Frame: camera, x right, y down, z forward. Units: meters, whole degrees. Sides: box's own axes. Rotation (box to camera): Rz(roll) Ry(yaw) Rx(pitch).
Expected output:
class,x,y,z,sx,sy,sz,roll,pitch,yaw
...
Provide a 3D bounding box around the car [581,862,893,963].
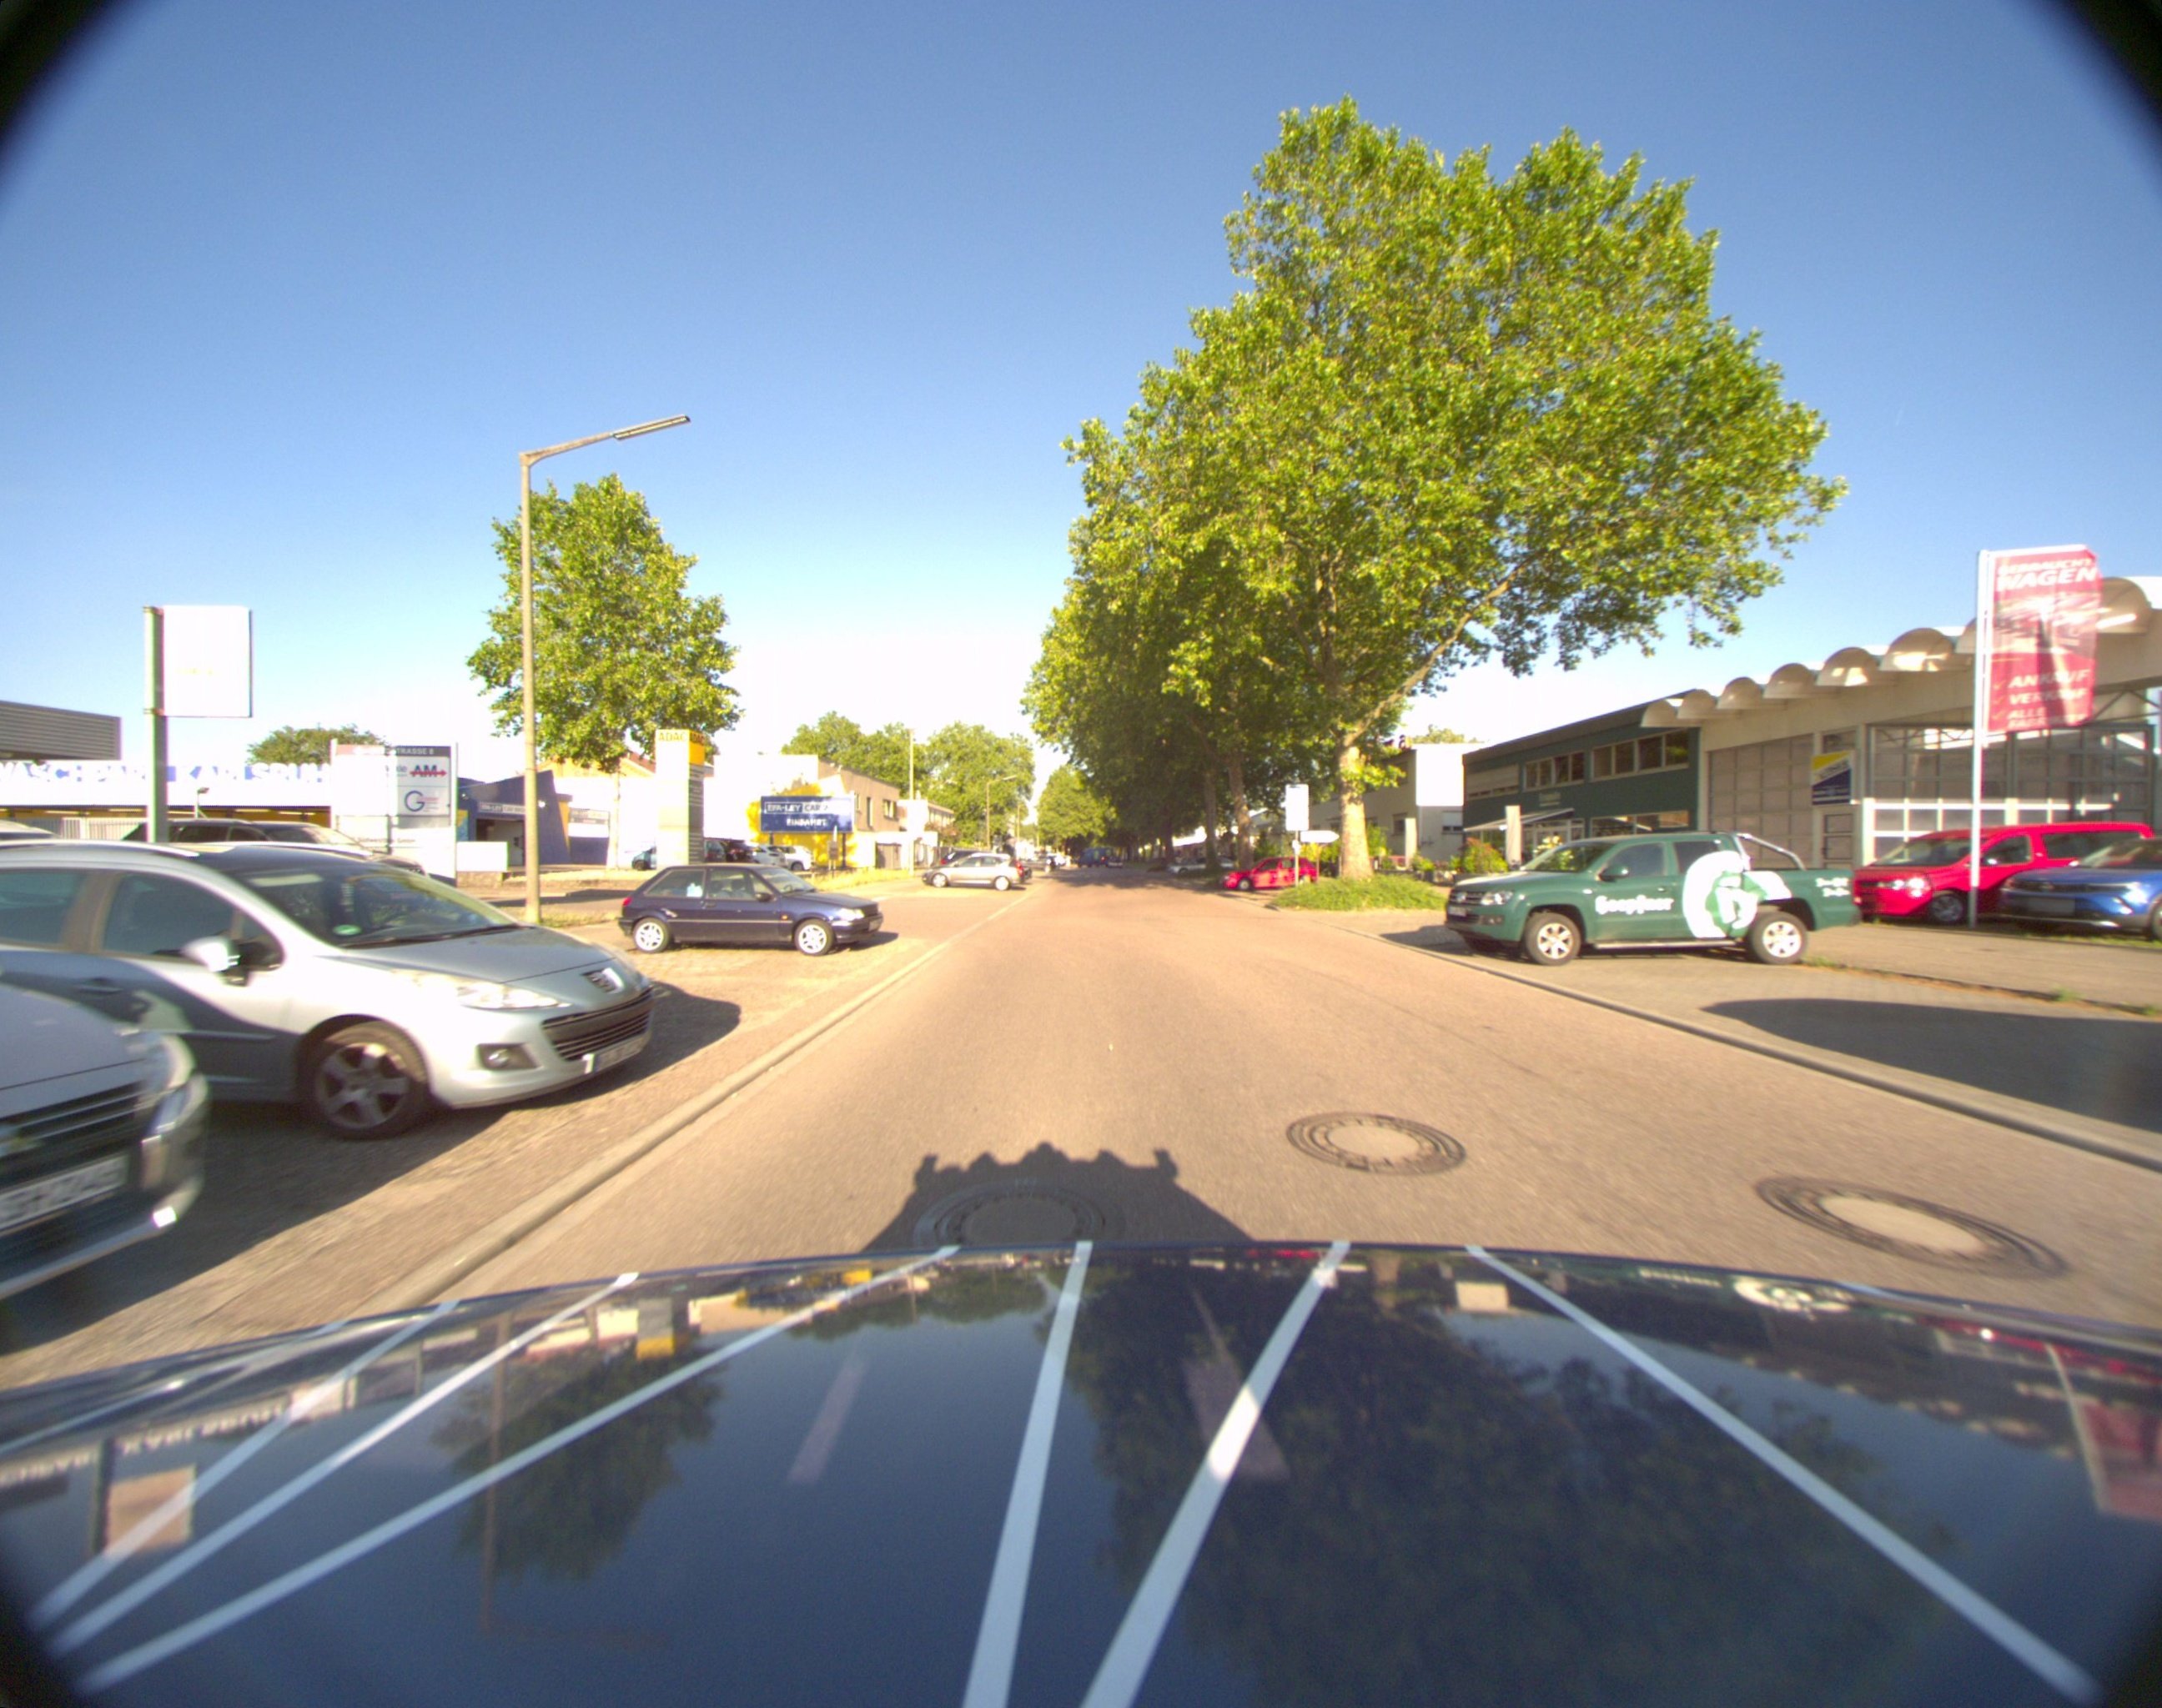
class,x,y,z,sx,sy,sz,roll,pitch,yaw
car,-5.168,0.844,11.752,3.996,1.288,1.784,2,0,3

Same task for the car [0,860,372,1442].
class,x,y,z,sx,sy,sz,roll,pitch,yaw
car,-5.109,0.826,2.181,4.120,1.608,2.058,1,0,-3

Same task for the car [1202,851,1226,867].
class,x,y,z,sx,sy,sz,roll,pitch,yaw
car,14.292,0.515,82.095,1.998,1.567,4.273,-1,0,2

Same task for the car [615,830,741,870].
class,x,y,z,sx,sy,sz,roll,pitch,yaw
car,-16.216,-0.158,30.764,3.998,1.510,1.999,-1,1,-3

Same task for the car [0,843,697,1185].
class,x,y,z,sx,sy,sz,roll,pitch,yaw
car,-4.798,0.780,4.557,3.998,1.578,1.867,2,0,-3

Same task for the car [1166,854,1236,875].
class,x,y,z,sx,sy,sz,roll,pitch,yaw
car,8.347,0.730,53.161,4.611,1.413,2.000,0,-1,0

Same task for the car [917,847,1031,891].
class,x,y,z,sx,sy,sz,roll,pitch,yaw
car,-4.634,0.619,33.363,4.612,1.604,2.000,3,1,0

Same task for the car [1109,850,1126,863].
class,x,y,z,sx,sy,sz,roll,pitch,yaw
car,4.498,0.312,93.317,1.843,1.562,3.802,2,0,0

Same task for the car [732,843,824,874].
class,x,y,z,sx,sy,sz,roll,pitch,yaw
car,-15.856,0.225,39.894,3.998,1.488,1.999,-1,1,-3

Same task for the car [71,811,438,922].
class,x,y,z,sx,sy,sz,roll,pitch,yaw
car,-15.462,0.212,14.462,4.507,1.887,2.202,-1,1,0

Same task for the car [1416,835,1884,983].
class,x,y,z,sx,sy,sz,roll,pitch,yaw
car,8.092,0.731,11.252,5.273,1.887,2.202,-1,1,0

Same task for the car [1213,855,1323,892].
class,x,y,z,sx,sy,sz,roll,pitch,yaw
car,8.100,0.815,33.165,4.307,1.438,2.000,-1,1,0

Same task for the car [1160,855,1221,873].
class,x,y,z,sx,sy,sz,roll,pitch,yaw
car,8.500,0.756,59.228,4.365,1.413,2.000,0,0,-2

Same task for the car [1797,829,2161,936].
class,x,y,z,sx,sy,sz,roll,pitch,yaw
car,16.942,0.501,14.482,4.758,1.809,2.000,-1,1,-1

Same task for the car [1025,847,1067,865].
class,x,y,z,sx,sy,sz,roll,pitch,yaw
car,-3.971,0.214,87.186,4.636,1.702,2.000,3,1,-1

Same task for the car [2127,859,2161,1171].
class,x,y,z,sx,sy,sz,roll,pitch,yaw
car,7.903,0.828,3.122,4.314,1.646,2.201,-1,1,-2

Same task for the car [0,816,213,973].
class,x,y,z,sx,sy,sz,roll,pitch,yaw
car,-14.993,0.545,10.260,3.943,1.886,2.203,0,-2,0

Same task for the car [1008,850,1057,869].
class,x,y,z,sx,sy,sz,roll,pitch,yaw
car,-4.654,0.516,73.401,4.636,1.518,2.000,3,0,-1

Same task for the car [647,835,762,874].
class,x,y,z,sx,sy,sz,roll,pitch,yaw
car,-16.319,0.003,33.089,3.998,1.586,1.999,-1,1,-3

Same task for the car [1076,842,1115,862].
class,x,y,z,sx,sy,sz,roll,pitch,yaw
car,1.978,-0.202,104.932,2.138,2.643,6.985,1,-1,-29

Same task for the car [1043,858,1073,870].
class,x,y,z,sx,sy,sz,roll,pitch,yaw
car,-3.672,1.567,121.809,4.582,1.705,1.943,3,0,-3

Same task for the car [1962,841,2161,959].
class,x,y,z,sx,sy,sz,roll,pitch,yaw
car,17.091,0.618,11.736,4.725,1.624,2.000,-1,1,-1

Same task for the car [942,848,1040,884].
class,x,y,z,sx,sy,sz,roll,pitch,yaw
car,-4.565,0.591,38.860,4.611,1.570,2.000,3,1,3

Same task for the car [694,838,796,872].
class,x,y,z,sx,sy,sz,roll,pitch,yaw
car,-15.989,0.023,36.356,3.998,1.510,1.952,-1,1,-3
